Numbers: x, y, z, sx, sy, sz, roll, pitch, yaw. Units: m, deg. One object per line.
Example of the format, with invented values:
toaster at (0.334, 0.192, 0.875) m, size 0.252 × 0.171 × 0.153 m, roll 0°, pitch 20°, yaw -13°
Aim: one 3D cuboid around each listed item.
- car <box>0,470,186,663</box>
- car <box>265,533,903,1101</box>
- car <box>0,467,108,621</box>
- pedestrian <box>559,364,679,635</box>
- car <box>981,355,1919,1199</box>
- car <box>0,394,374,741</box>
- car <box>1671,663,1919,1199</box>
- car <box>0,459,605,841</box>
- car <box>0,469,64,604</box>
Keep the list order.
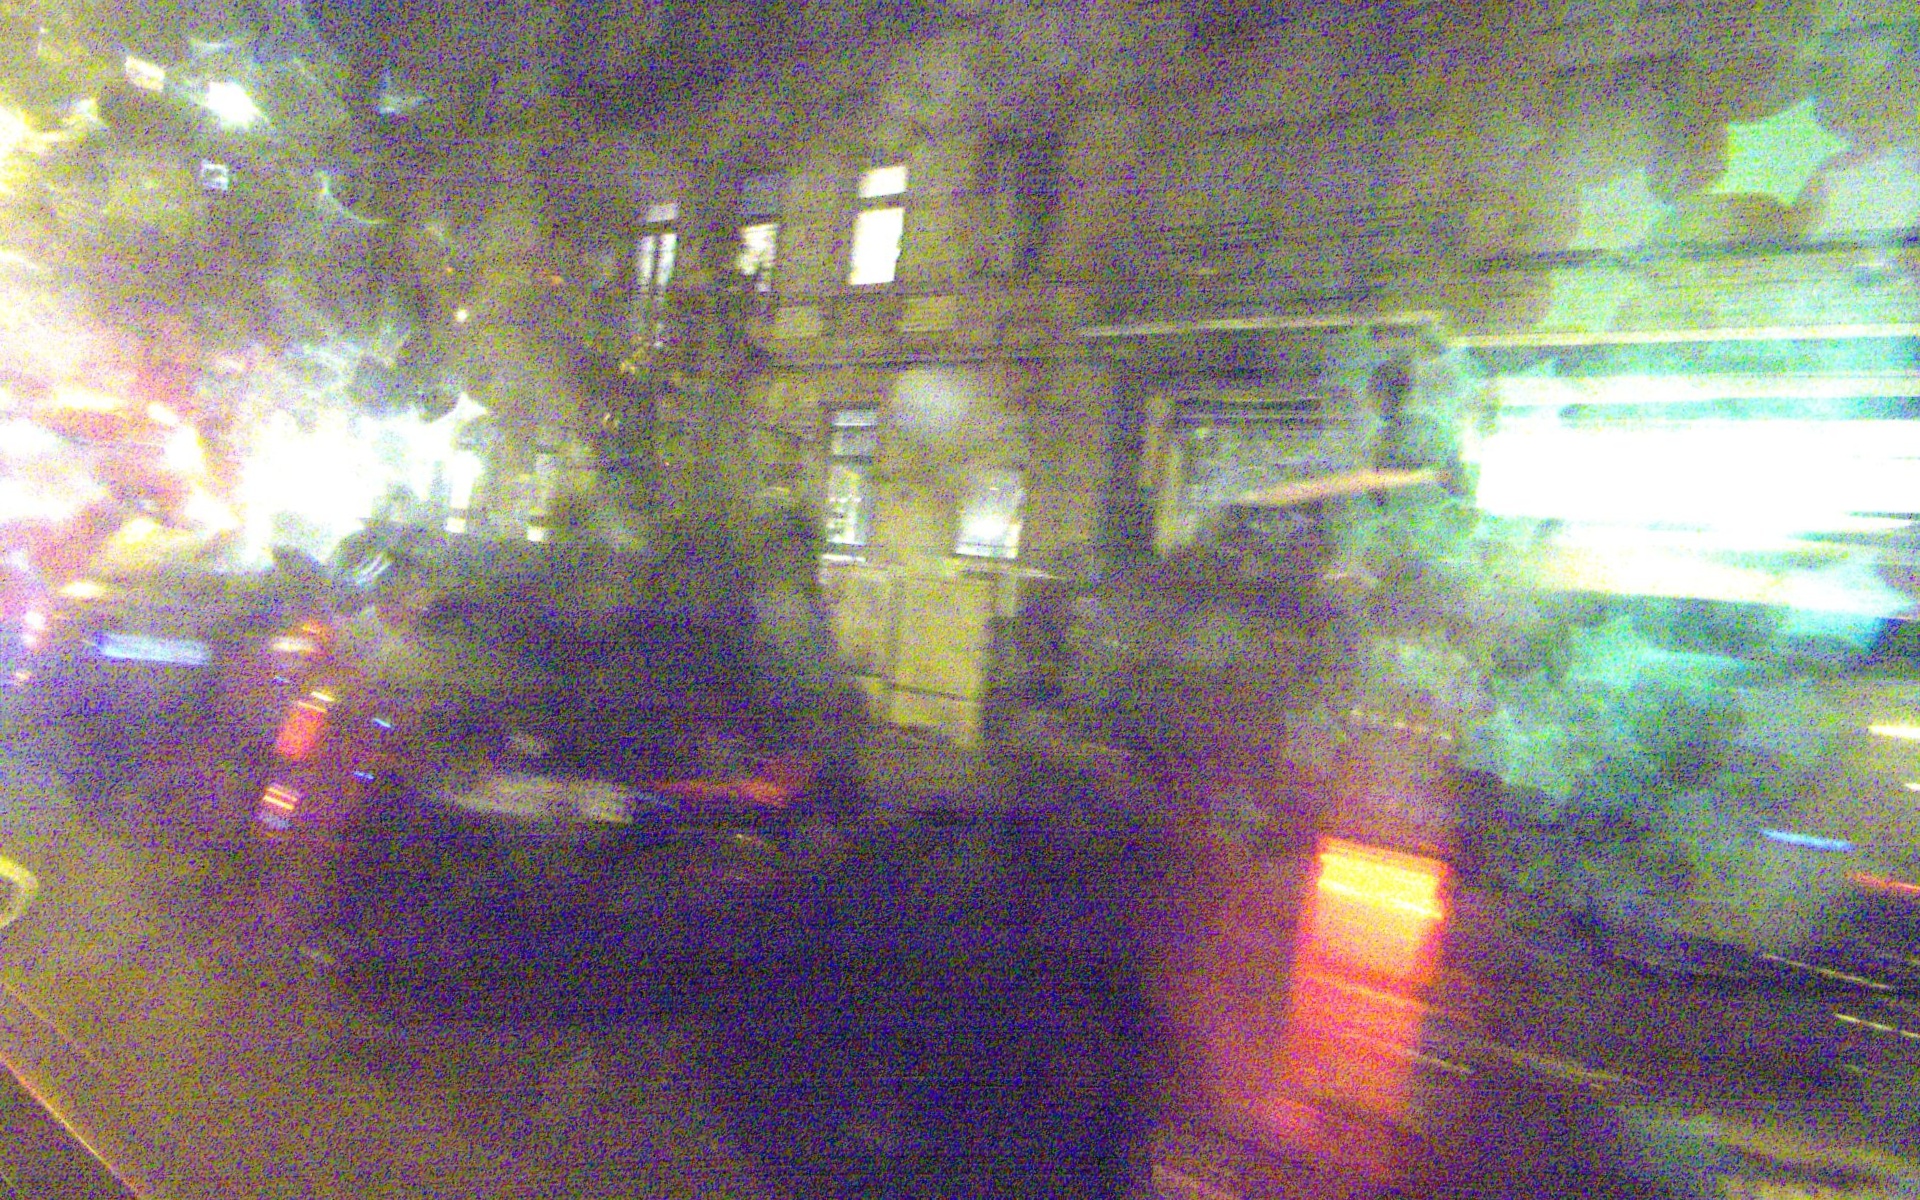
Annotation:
car at (-8.781, -0.362, 8.675) m, size 1.577 × 1.611 × 3.560 m, roll 6°, pitch 1°, yaw -5°
car at (-1.148, 0.589, 4.599) m, size 1.642 × 1.472 × 3.561 m, roll 6°, pitch 1°, yaw -3°
car at (-11.687, -0.739, 11.031) m, size 1.660 × 1.754 × 3.569 m, roll 7°, pitch -1°, yaw -5°
pedestrian at (-4.698, -1.356, 13.903) m, size 0.778 × 3.570 × 0.892 m, roll 7°, pitch 0°, yaw 31°
car at (1.182, 0.653, 3.247) m, size 1.695 × 1.864 × 3.744 m, roll 6°, pitch 1°, yaw -5°
car at (-6.248, -0.290, 7.663) m, size 1.577 × 2.017 × 3.560 m, roll 5°, pitch 1°, yaw -5°
car at (3.363, 1.081, 1.566) m, size 1.695 × 1.504 × 3.561 m, roll 6°, pitch 1°, yaw -4°
car at (-3.909, 0.159, 6.601) m, size 1.847 × 1.609 × 3.994 m, roll 6°, pitch 2°, yaw -4°
car at (-13.578, -0.970, 12.204) m, size 1.847 × 1.782 × 3.998 m, roll 7°, pitch -1°, yaw -5°
